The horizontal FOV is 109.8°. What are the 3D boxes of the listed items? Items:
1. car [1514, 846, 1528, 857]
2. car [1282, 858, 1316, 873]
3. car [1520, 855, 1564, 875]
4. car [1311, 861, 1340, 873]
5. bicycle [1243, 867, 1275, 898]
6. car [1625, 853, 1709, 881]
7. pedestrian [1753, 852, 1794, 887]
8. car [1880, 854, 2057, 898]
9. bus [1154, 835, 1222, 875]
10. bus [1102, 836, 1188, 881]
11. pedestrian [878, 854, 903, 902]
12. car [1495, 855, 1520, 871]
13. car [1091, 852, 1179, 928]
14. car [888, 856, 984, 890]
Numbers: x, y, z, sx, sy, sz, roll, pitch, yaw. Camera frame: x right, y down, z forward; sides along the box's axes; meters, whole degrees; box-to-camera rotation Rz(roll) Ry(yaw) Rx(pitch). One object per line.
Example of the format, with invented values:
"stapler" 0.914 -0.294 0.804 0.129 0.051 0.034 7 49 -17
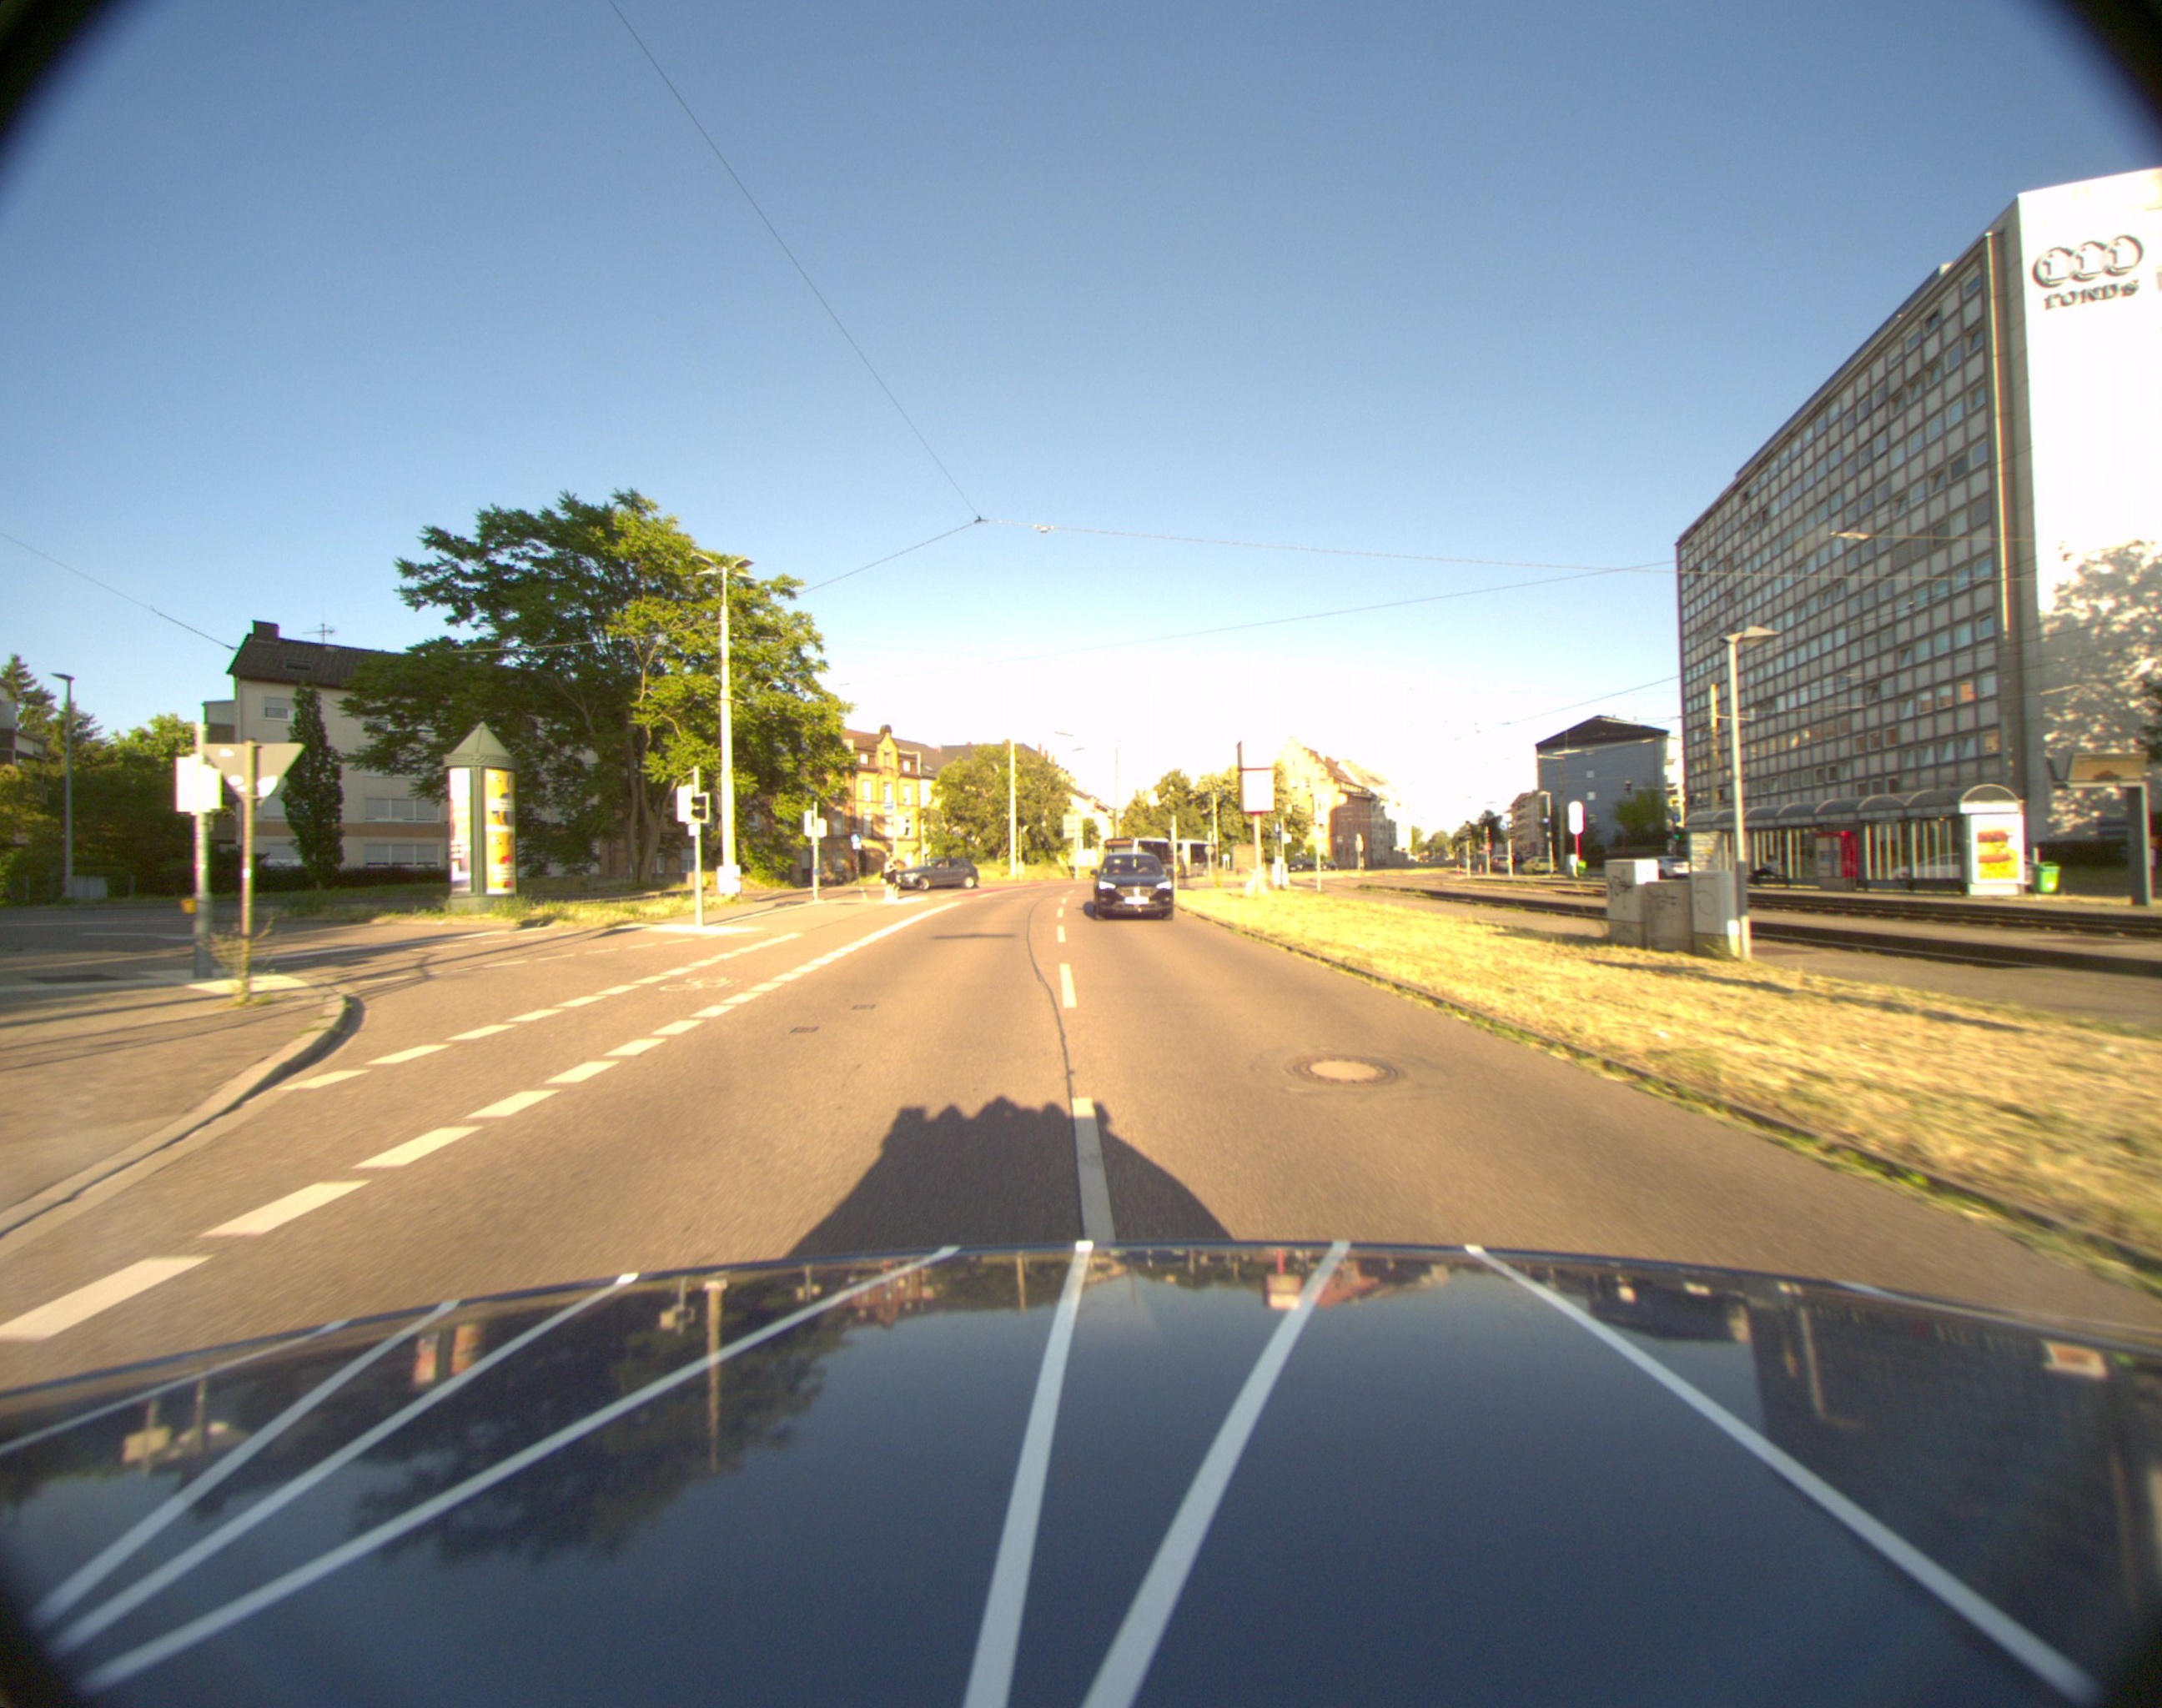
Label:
"car" 69.677 -0.379 120.228 1.878 1.677 4.137 -2 -1 30
"car" 23.242 1.189 80.916 3.987 1.465 1.737 -1 -1 -44
"car" 35.536 0.842 58.692 1.739 1.465 4.134 -1 -1 14
"car" 30.358 1.587 94.112 3.987 1.405 1.737 -1 -1 -45
"bicycle" 5.998 0.947 25.591 0.606 0.988 1.750 -1 0 28
"car" 33.138 0.734 43.129 1.740 1.465 4.131 -1 -1 3
"pedestrian" 25.767 0.573 28.281 0.954 1.260 0.662 -1 1 -5
"car" 32.613 0.778 28.132 1.740 1.465 4.130 -1 -1 1
"bus" 8.963 0.060 62.668 2.607 3.007 8.875 -1 0 28
"bus" 4.852 0.284 54.794 2.607 3.007 9.595 -1 0 28
"pedestrian" -6.466 0.812 25.803 0.592 1.586 0.547 -1 1 34
"car" 40.462 0.812 72.132 1.878 1.465 4.137 -2 -1 27
"car" 1.240 0.814 19.365 1.818 1.670 4.623 -1 0 -1
"car" -7.078 0.910 37.439 4.341 1.539 1.814 -1 0 -44
